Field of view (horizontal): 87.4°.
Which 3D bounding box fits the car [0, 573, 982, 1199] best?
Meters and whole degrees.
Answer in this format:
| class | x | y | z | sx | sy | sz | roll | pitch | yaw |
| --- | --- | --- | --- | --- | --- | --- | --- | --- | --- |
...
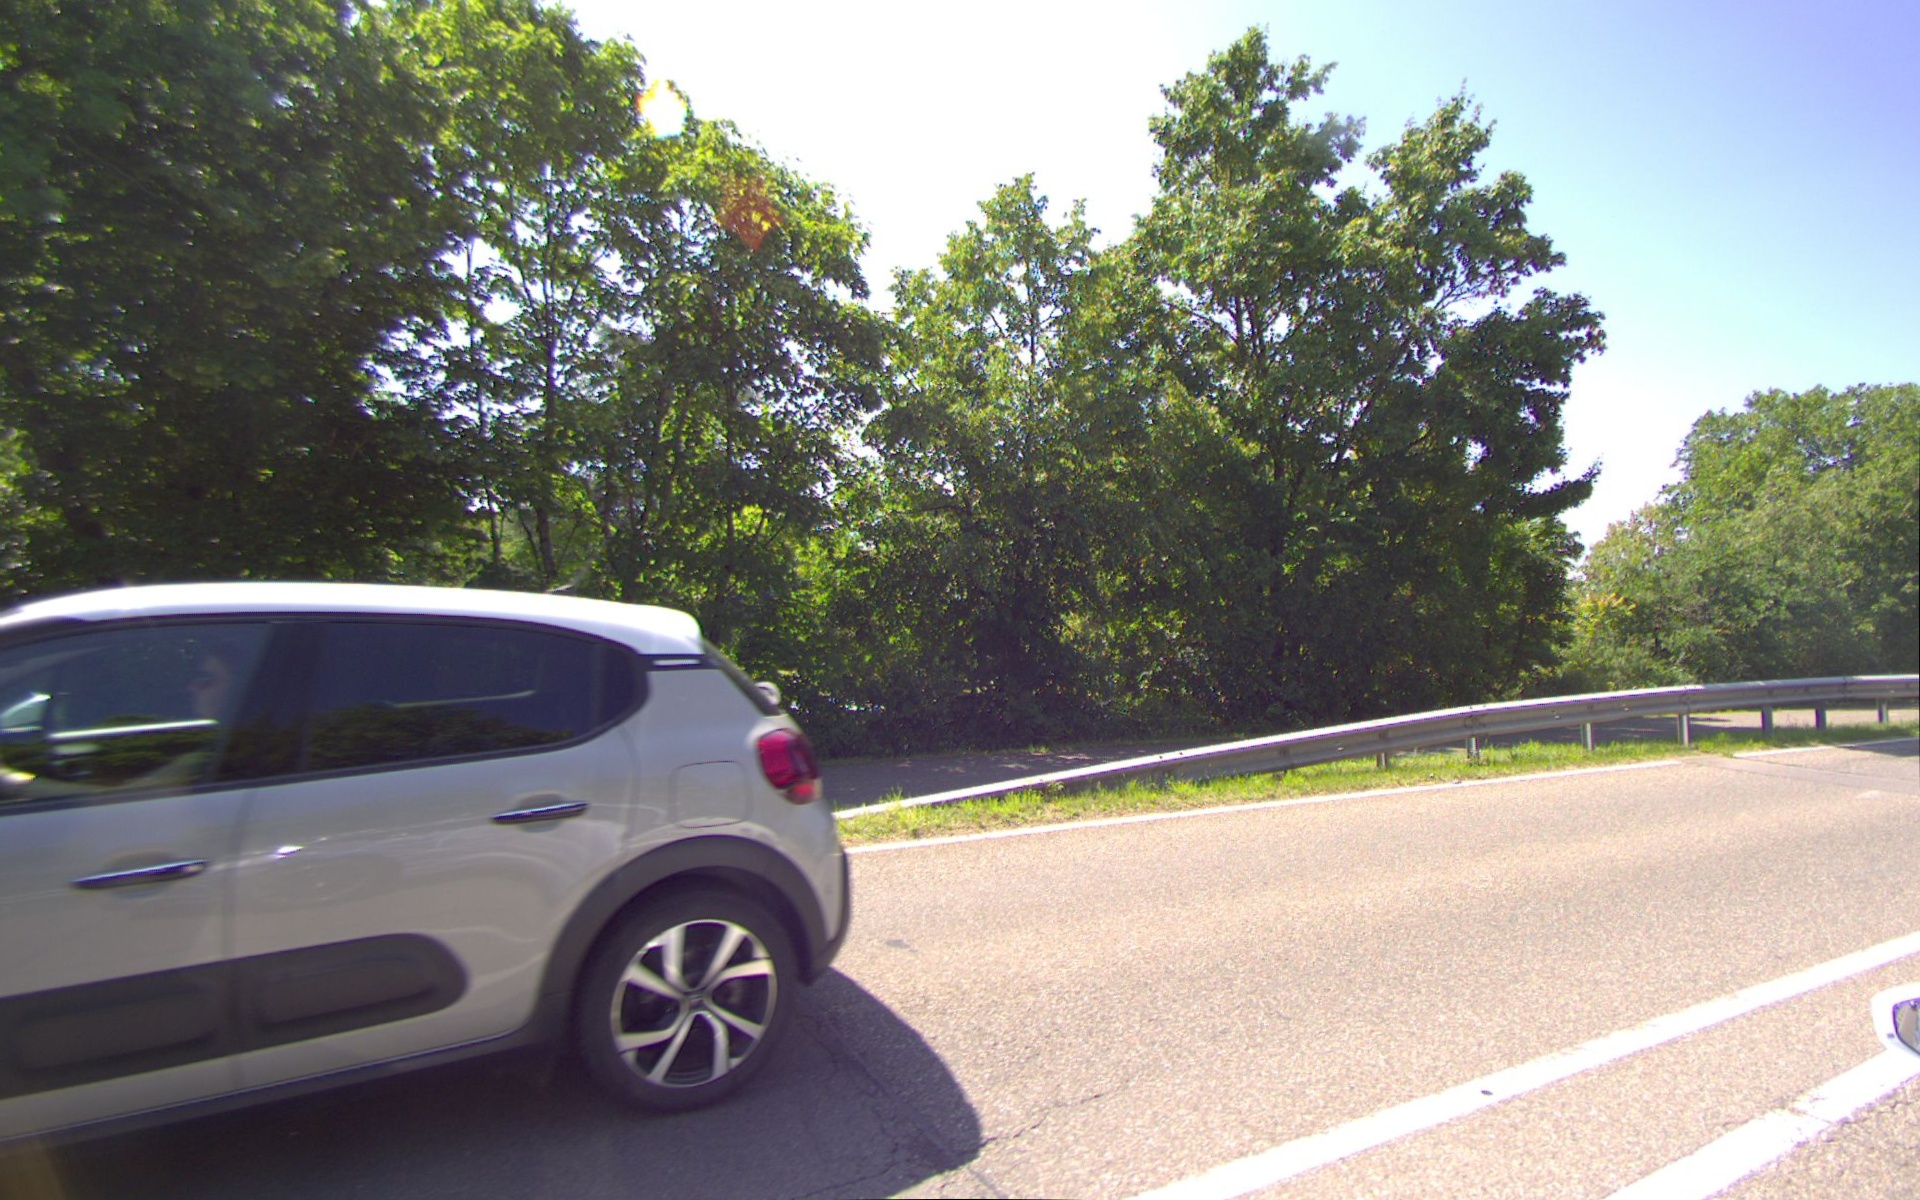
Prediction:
| class | x | y | z | sx | sy | sz | roll | pitch | yaw |
| --- | --- | --- | --- | --- | --- | --- | --- | --- | --- |
| car | -2.016 | 0.698 | 3.052 | 3.840 | 1.475 | 1.732 | 0 | -1 | -29 |
